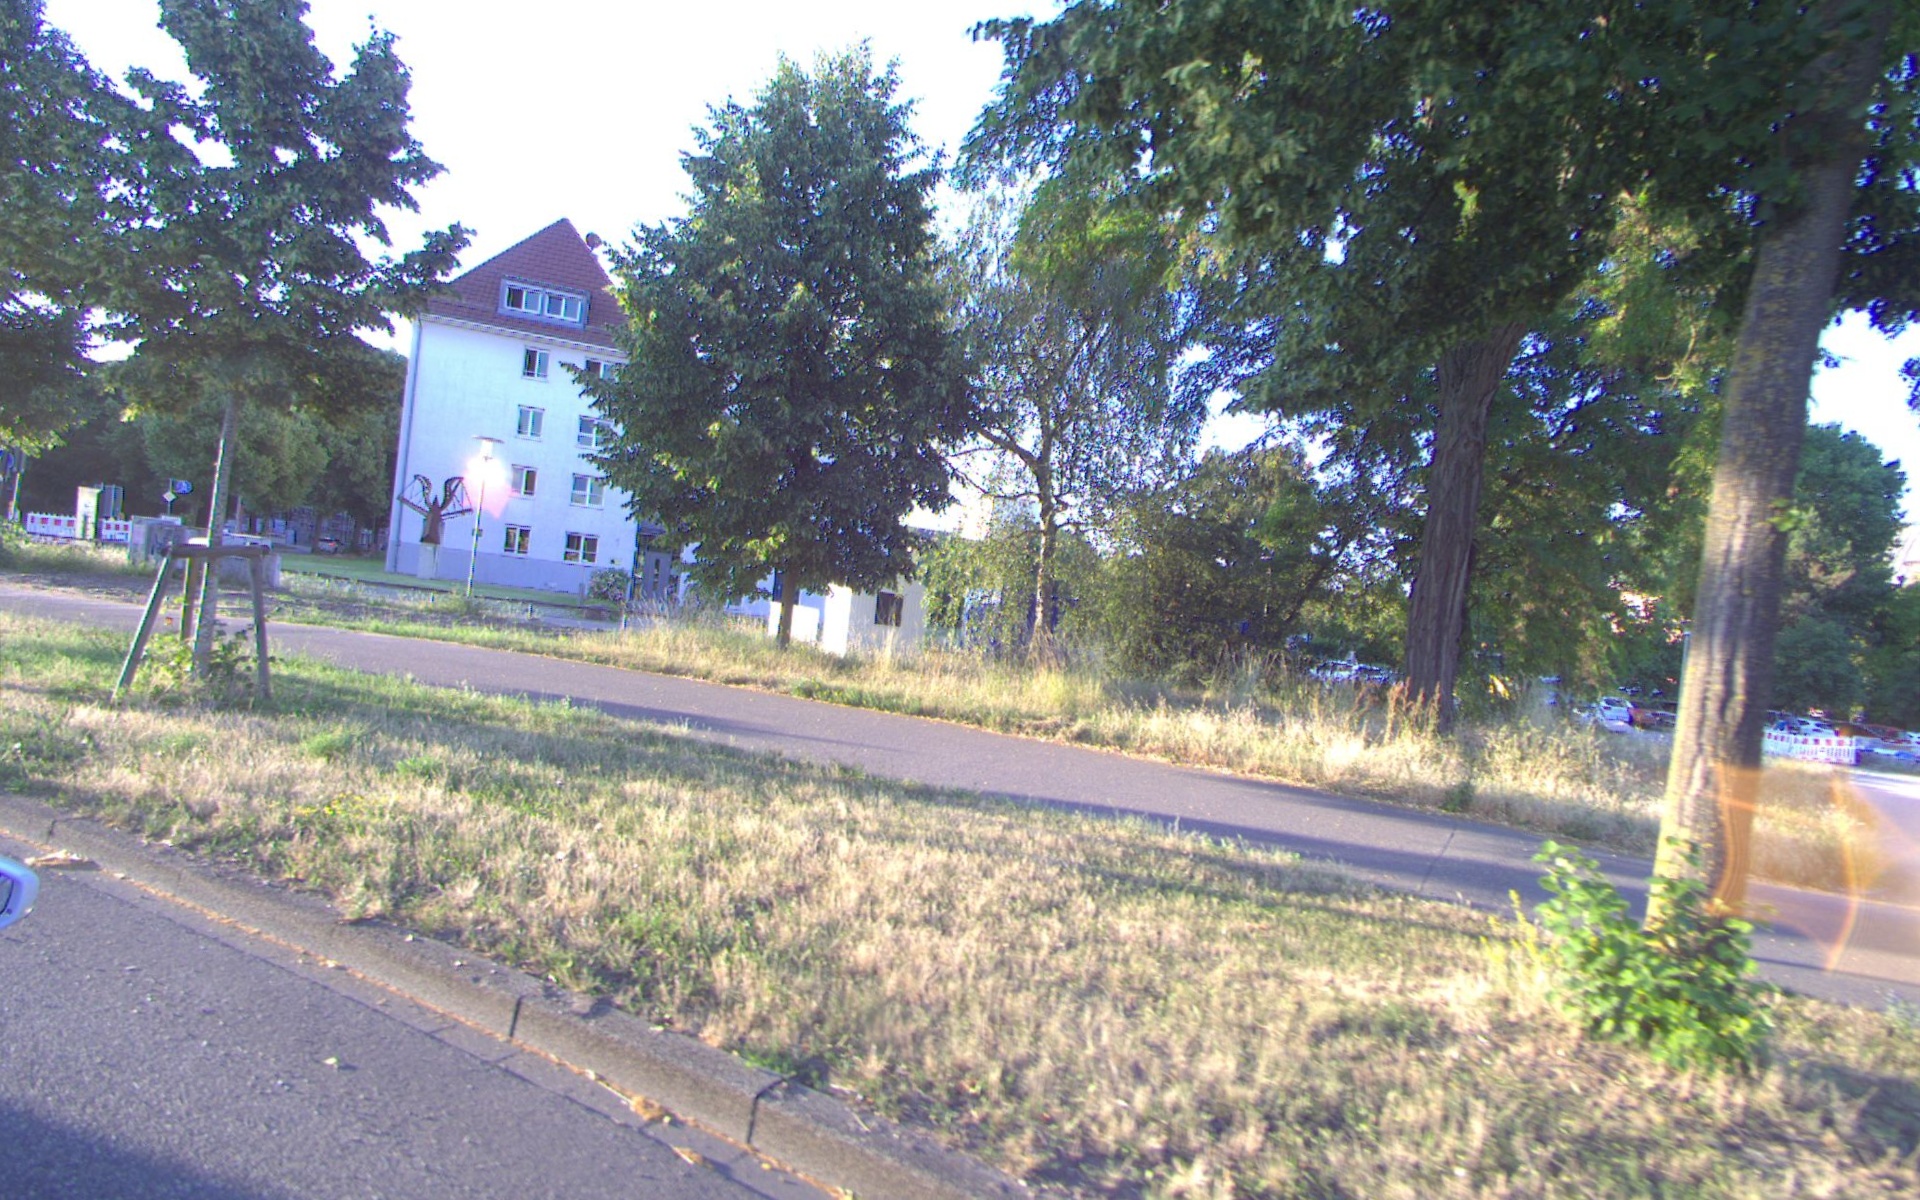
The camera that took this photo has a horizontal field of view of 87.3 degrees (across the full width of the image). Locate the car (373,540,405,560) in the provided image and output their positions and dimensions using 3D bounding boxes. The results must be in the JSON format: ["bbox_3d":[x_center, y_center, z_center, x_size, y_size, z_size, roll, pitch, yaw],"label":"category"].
[{"bbox_3d":[-59.880,-5.232,105.618,1.929,1.621,4.064,8,-1,-17],"label":"car"}]

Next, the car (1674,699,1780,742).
[{"bbox_3d":[40.924,6.410,53.778,1.878,1.572,3.980,7,-1,-22],"label":"car"}]

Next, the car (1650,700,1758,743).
[{"bbox_3d":[38.898,6.321,52.697,1.878,1.572,4.078,7,-1,-22],"label":"car"}]

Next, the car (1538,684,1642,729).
[{"bbox_3d":[31.974,5.378,51.154,1.927,1.682,3.980,7,-1,-22],"label":"car"}]

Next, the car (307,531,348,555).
[{"bbox_3d":[-53.808,-4.815,85.681,1.930,1.621,4.061,8,-1,-19],"label":"car"}]

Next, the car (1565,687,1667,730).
[{"bbox_3d":[33.978,5.613,52.204,1.878,1.572,3.980,7,-1,-22],"label":"car"}]

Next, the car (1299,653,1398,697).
[{"bbox_3d":[17.845,3.437,46.412,1.927,1.463,3.980,7,-1,-22],"label":"car"}]

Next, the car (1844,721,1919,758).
[{"bbox_3d":[54.743,8.211,58.860,1.878,1.572,3.980,7,-1,-22],"label":"car"}]

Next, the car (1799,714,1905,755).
[{"bbox_3d":[50.456,7.597,56.987,1.878,1.572,3.980,7,-1,-22],"label":"car"}]

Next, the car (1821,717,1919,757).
[{"bbox_3d":[52.533,7.854,57.896,1.878,1.572,3.980,7,-1,-22],"label":"car"}]
